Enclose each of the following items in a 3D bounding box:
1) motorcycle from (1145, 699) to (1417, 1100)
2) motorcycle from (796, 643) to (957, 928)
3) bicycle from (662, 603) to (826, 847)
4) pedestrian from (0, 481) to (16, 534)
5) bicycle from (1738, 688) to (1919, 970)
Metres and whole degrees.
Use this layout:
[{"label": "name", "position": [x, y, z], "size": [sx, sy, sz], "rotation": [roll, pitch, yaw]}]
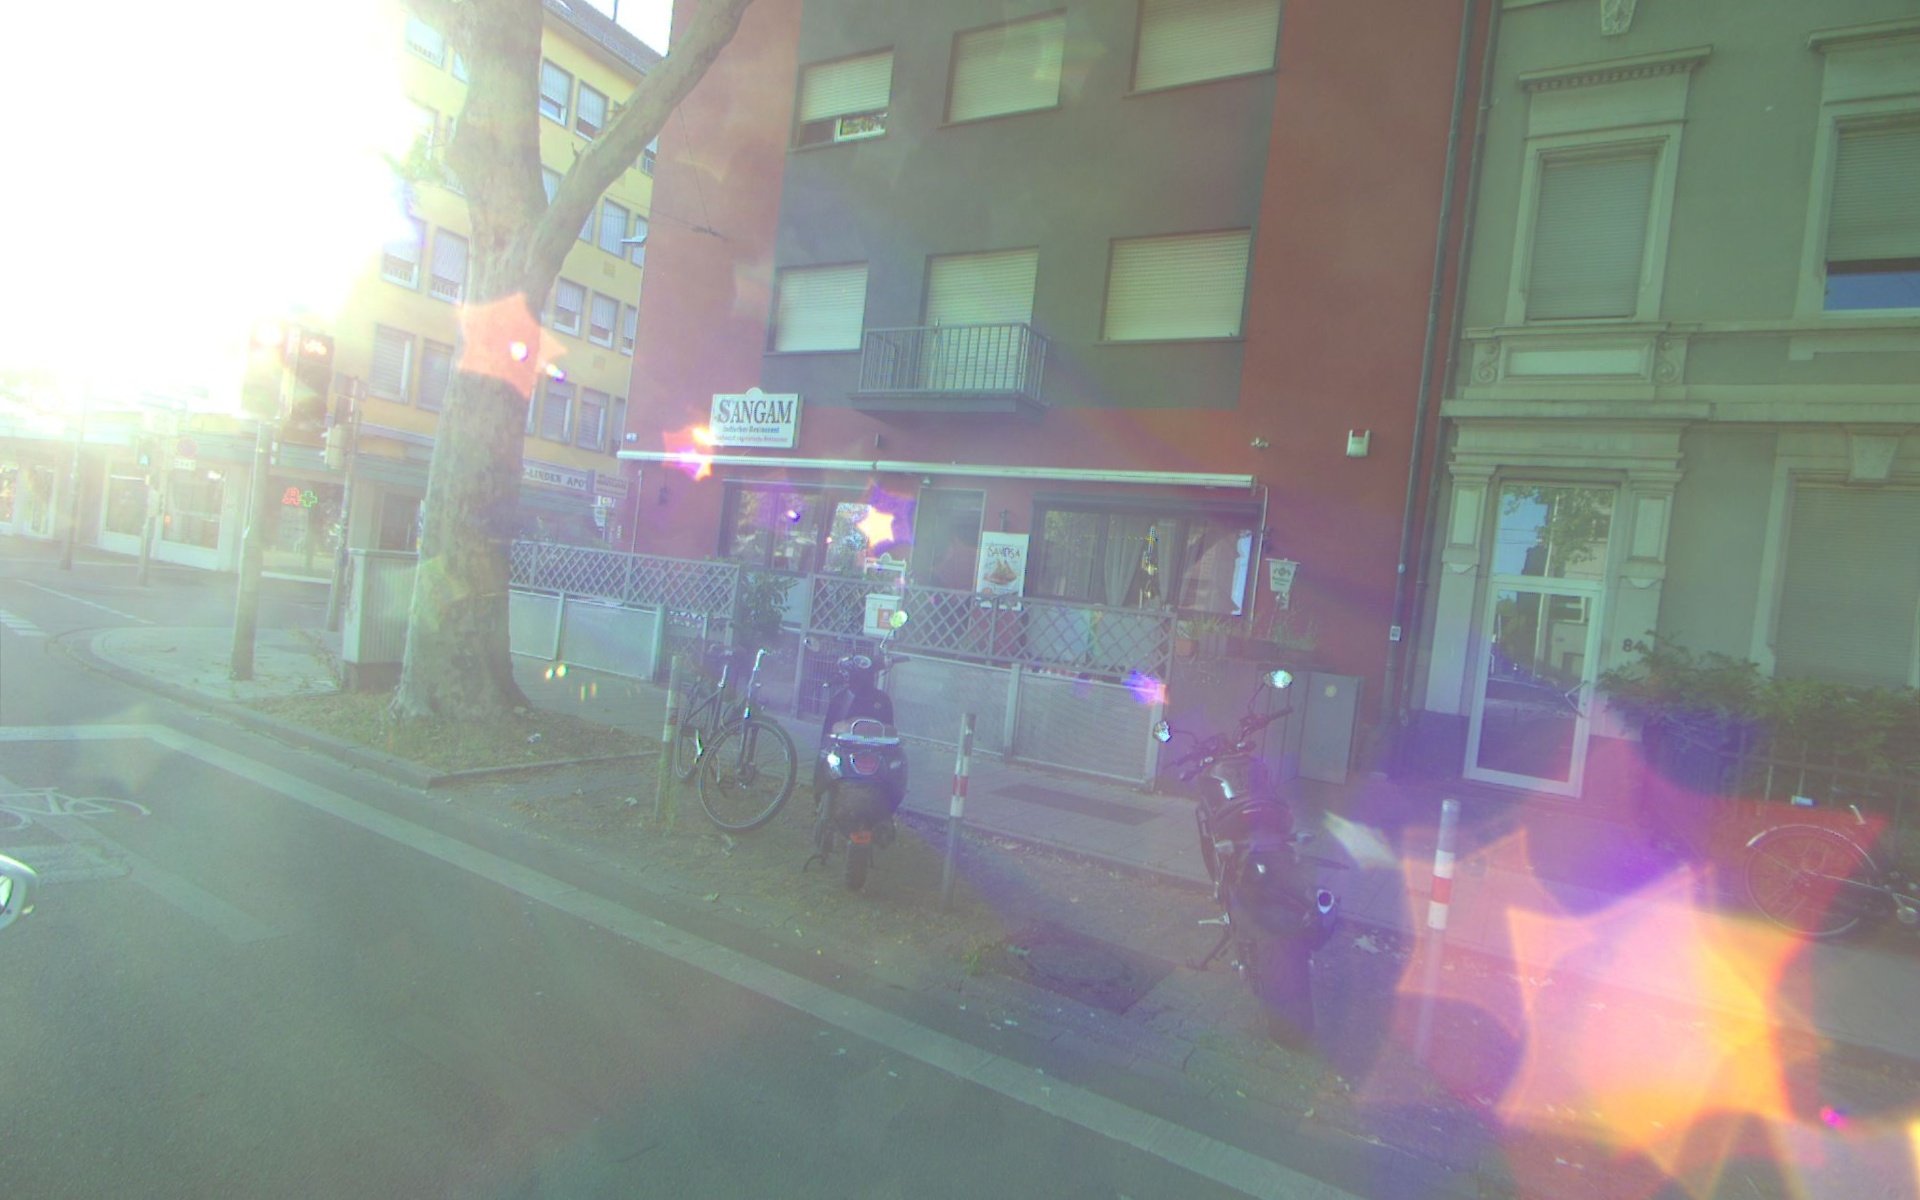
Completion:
[{"label": "motorcycle", "position": [1.314, 1.151, 4.616], "size": [0.752, 1.077, 2.212], "rotation": [7, 2, 9]}, {"label": "motorcycle", "position": [-0.545, 0.915, 5.651], "size": [0.591, 1.166, 1.994], "rotation": [6, 0, -10]}, {"label": "bicycle", "position": [-1.495, 0.741, 6.676], "size": [0.686, 1.219, 1.837], "rotation": [8, 2, -20]}, {"label": "pedestrian", "position": [-38.165, -3.707, 39.619], "size": [0.911, 2.039, 0.991], "rotation": [7, 1, 19]}, {"label": "bicycle", "position": [5.862, 1.373, 5.502], "size": [2.356, 1.443, 0.608], "rotation": [6, -1, 32]}]
